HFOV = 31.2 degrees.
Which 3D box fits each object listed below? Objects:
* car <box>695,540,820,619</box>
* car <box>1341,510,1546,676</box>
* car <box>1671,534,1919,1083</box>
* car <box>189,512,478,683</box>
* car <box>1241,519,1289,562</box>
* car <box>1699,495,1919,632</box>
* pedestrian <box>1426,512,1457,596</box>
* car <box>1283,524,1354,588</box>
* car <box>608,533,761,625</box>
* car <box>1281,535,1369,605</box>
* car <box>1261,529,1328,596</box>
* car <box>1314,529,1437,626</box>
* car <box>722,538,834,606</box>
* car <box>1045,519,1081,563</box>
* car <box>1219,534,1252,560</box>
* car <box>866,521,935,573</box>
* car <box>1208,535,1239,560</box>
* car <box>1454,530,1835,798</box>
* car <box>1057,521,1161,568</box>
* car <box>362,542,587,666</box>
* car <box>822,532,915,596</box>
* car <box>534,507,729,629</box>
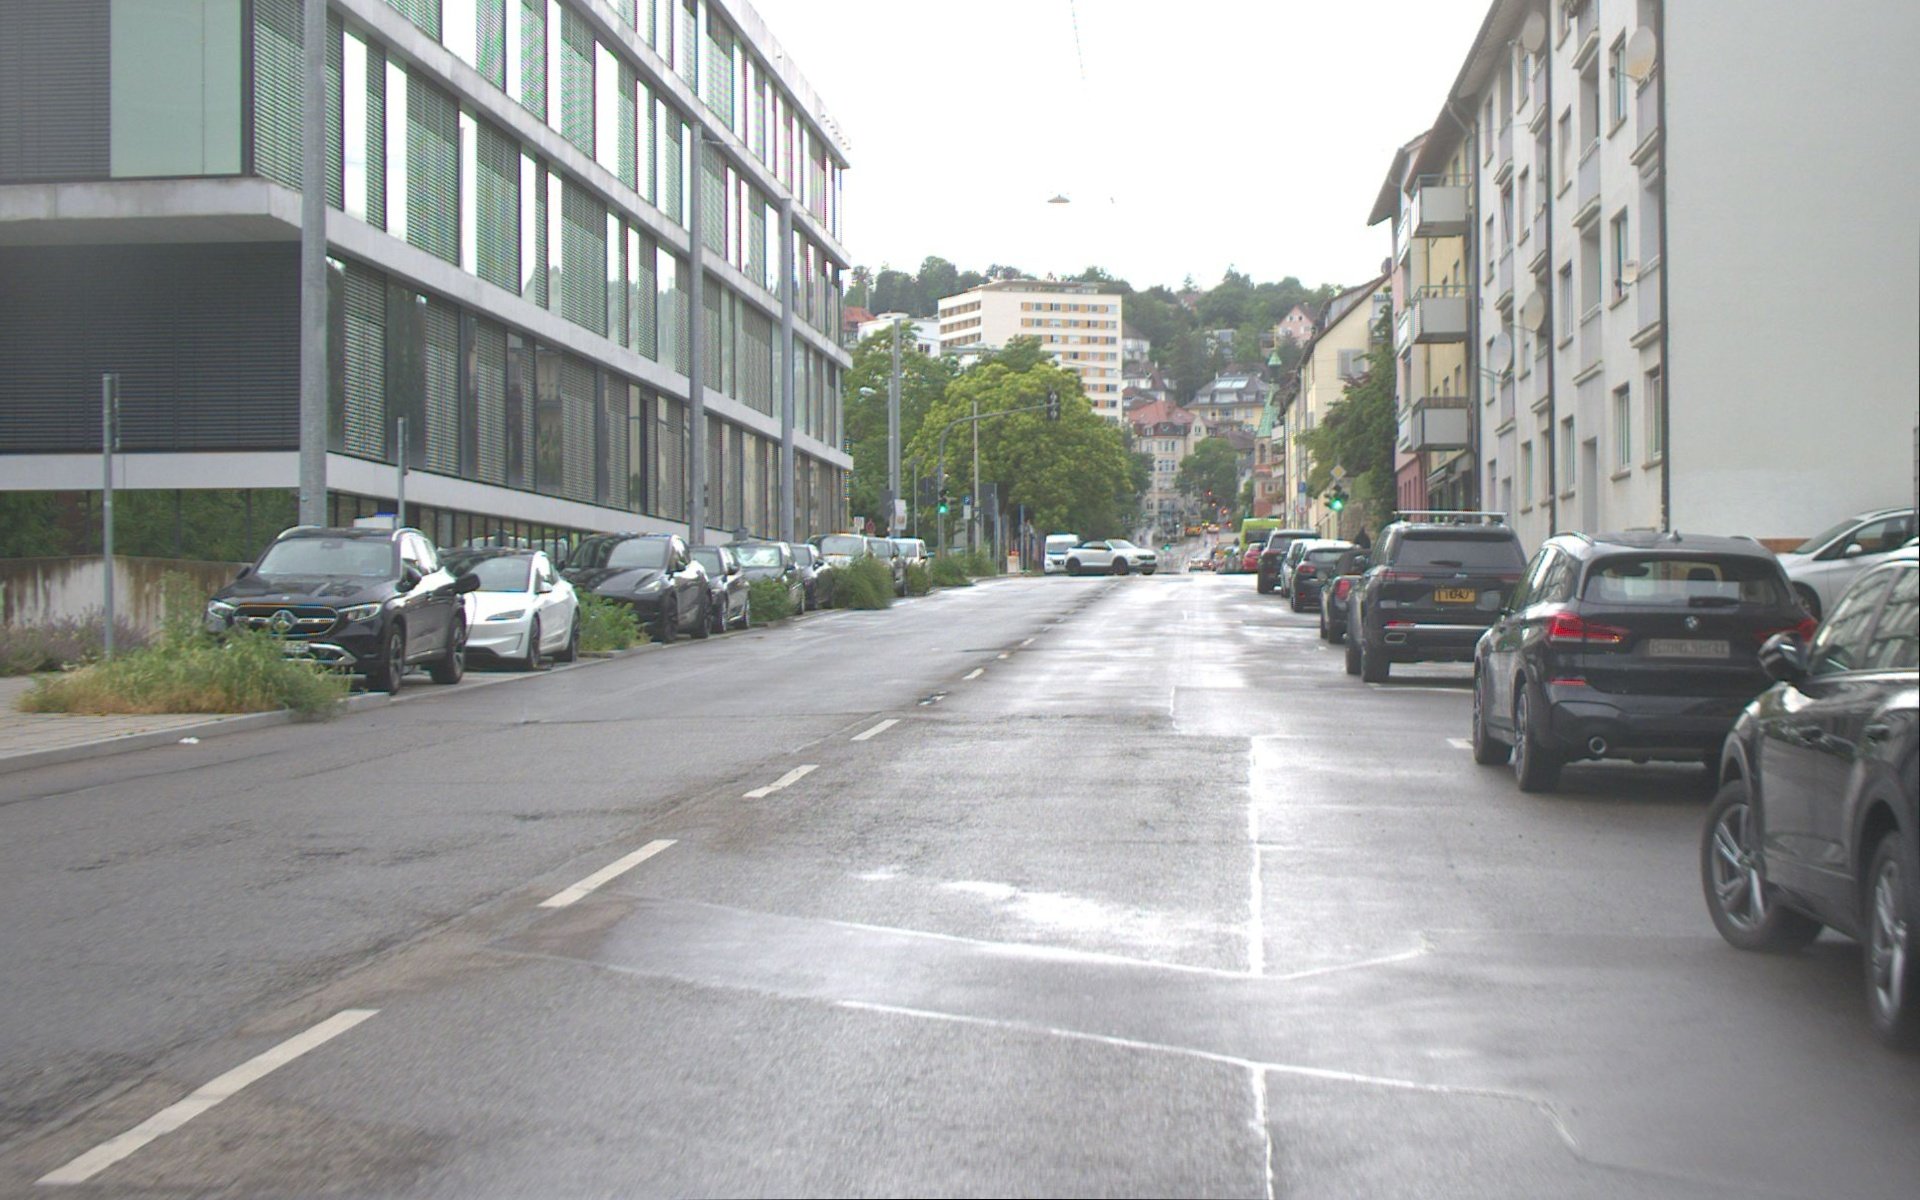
[{"bbox_3d":[-3.930,-0.419,67.360,1.863,1.484,4.346,1,1,4],"label":"car"},{"bbox_3d":[5.428,-0.113,39.107,1.936,1.744,4.796,1,1,4],"label":"car"},{"bbox_3d":[3.562,0.589,11.416,1.725,1.507,4.057,2,1,3],"label":"car"},{"bbox_3d":[-6.342,-0.061,35.311,1.849,1.612,4.490,1,1,4],"label":"car"},{"bbox_3d":[12.931,-2.498,145.474,1.867,1.764,4.188,1,1,7],"label":"car"},{"bbox_3d":[12.600,-0.548,47.282,4.438,1.707,1.905,-3,1,4],"label":"car"},{"bbox_3d":[10.775,-1.023,76.986,0.639,1.864,0.538,1,1,6],"label":"pedestrian"},{"bbox_3d":[9.079,-1.125,87.336,1.635,1.566,3.710,1,1,4],"label":"car"},{"bbox_3d":[-4.597,-0.375,58.038,1.871,1.467,4.740,1,1,4],"label":"car"},{"bbox_3d":[7.765,-0.656,73.394,1.706,1.449,3.984,1,1,4],"label":"car"},{"bbox_3d":[9.118,-1.045,93.920,1.655,1.732,4.179,0,2,4],"label":"car"},{"bbox_3d":[6.446,-0.345,53.586,1.673,1.455,3.764,0,0,3],"label":"car"},{"bbox_3d":[-3.866,-0.616,73.717,1.838,1.391,4.392,1,1,4],"label":"car"},{"bbox_3d":[6.049,-3.431,201.784,2.105,2.538,4.750,1,1,2],"label":"car"},{"bbox_3d":[17.251,-3.327,215.396,1.867,1.598,4.188,1,1,7],"label":"car"},{"bbox_3d":[-1.712,-1.561,100.222,1.595,1.454,3.718,1,2,5],"label":"car"},{"bbox_3d":[17.148,-3.420,223.599,1.867,1.598,4.188,1,1,7],"label":"car"},{"bbox_3d":[4.287,0.338,22.150,1.743,1.528,4.319,1,1,3],"label":"car"},{"bbox_3d":[6.083,-2.256,140.393,4.202,1.663,1.636,-2,-4,44],"label":"car"},{"bbox_3d":[-5.858,0.008,41.997,1.821,1.414,4.402,1,1,4],"label":"car"},{"bbox_3d":[-2.343,-0.934,89.324,1.802,1.598,4.233,1,1,7],"label":"car"},{"bbox_3d":[-4.915,-0.504,52.092,1.963,1.744,4.941,1,1,6],"label":"car"}]
